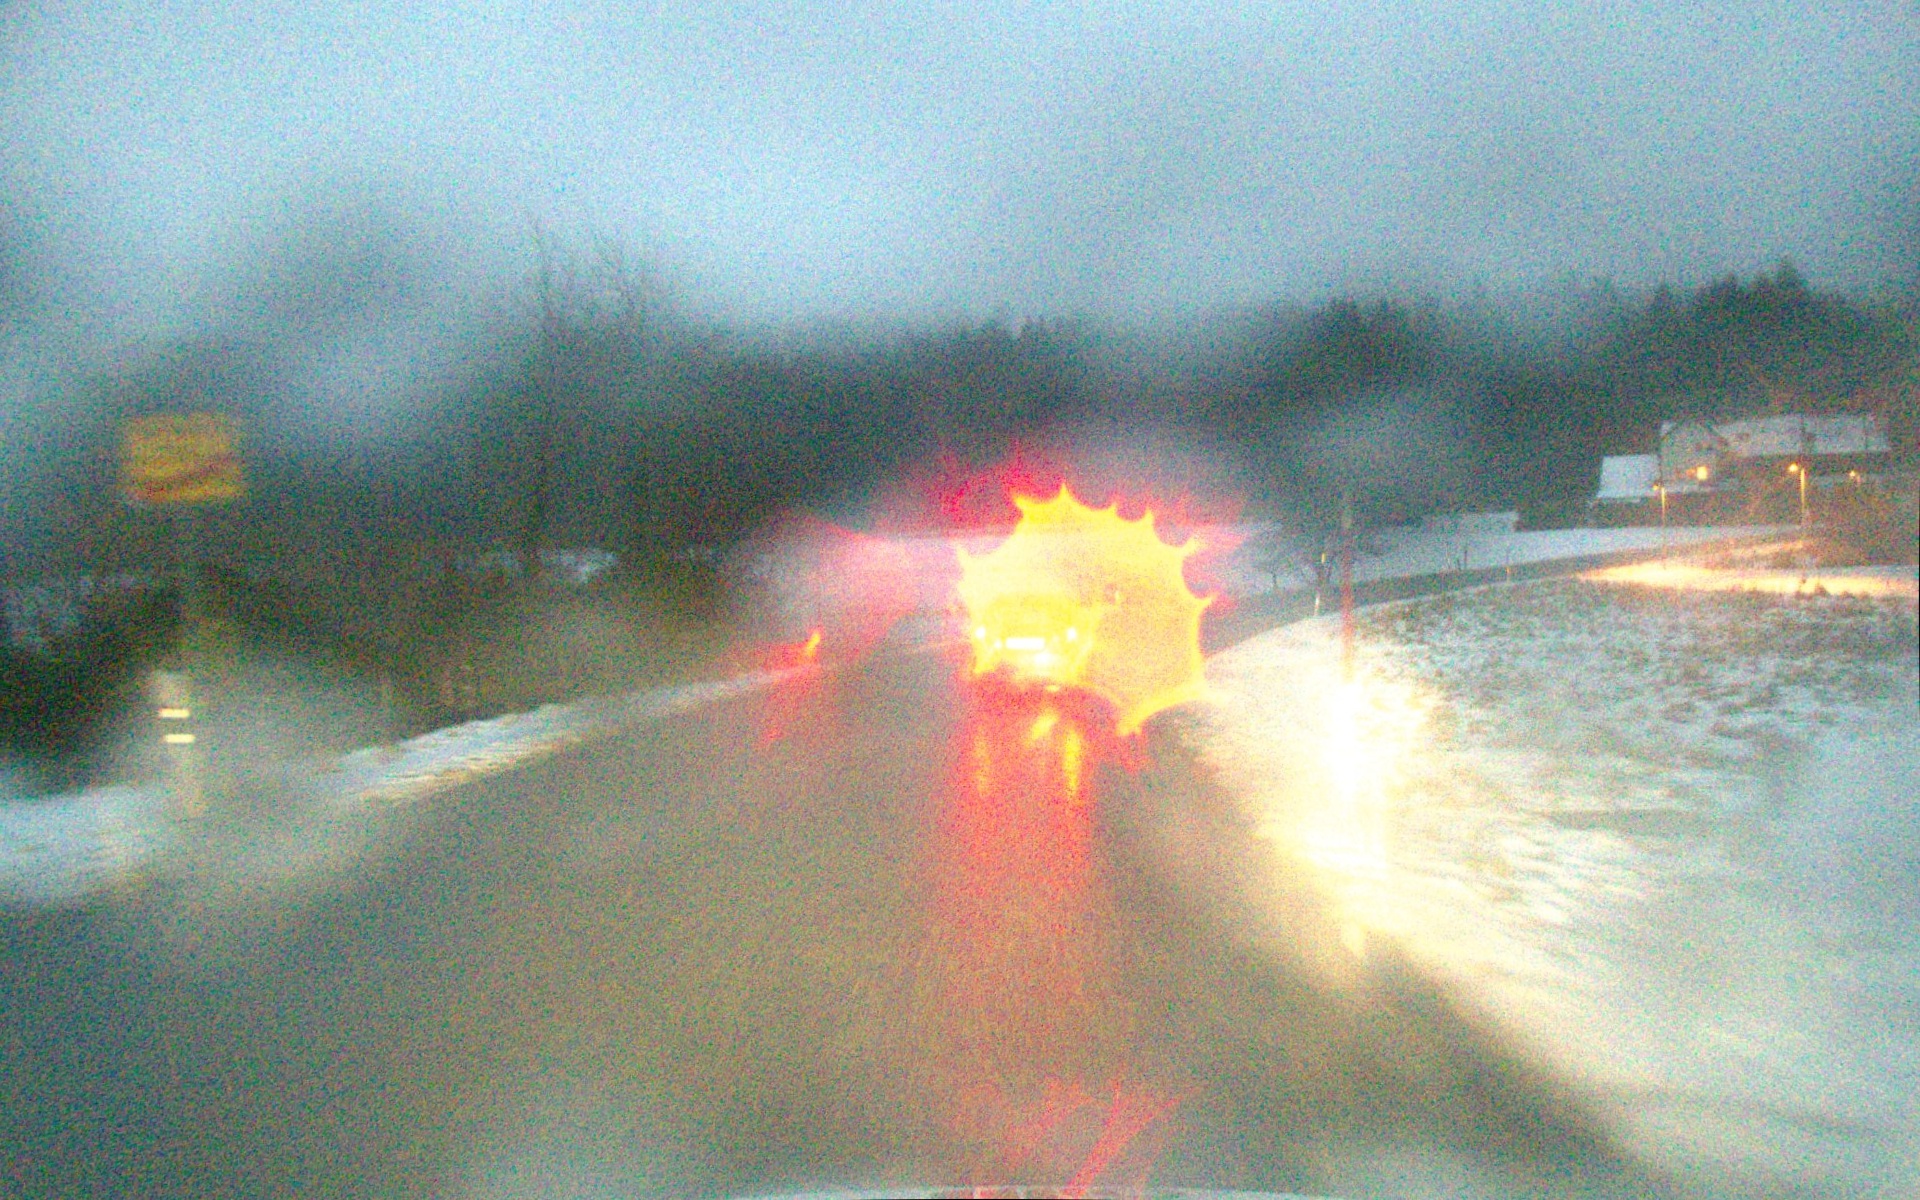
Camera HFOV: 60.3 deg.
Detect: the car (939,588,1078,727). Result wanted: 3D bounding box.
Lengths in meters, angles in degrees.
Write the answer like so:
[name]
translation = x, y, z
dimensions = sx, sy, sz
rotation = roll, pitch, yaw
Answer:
[car]
translation = 0.641, 0.772, 24.218
dimensions = 1.785, 1.828, 3.576
rotation = -2, 0, -2
